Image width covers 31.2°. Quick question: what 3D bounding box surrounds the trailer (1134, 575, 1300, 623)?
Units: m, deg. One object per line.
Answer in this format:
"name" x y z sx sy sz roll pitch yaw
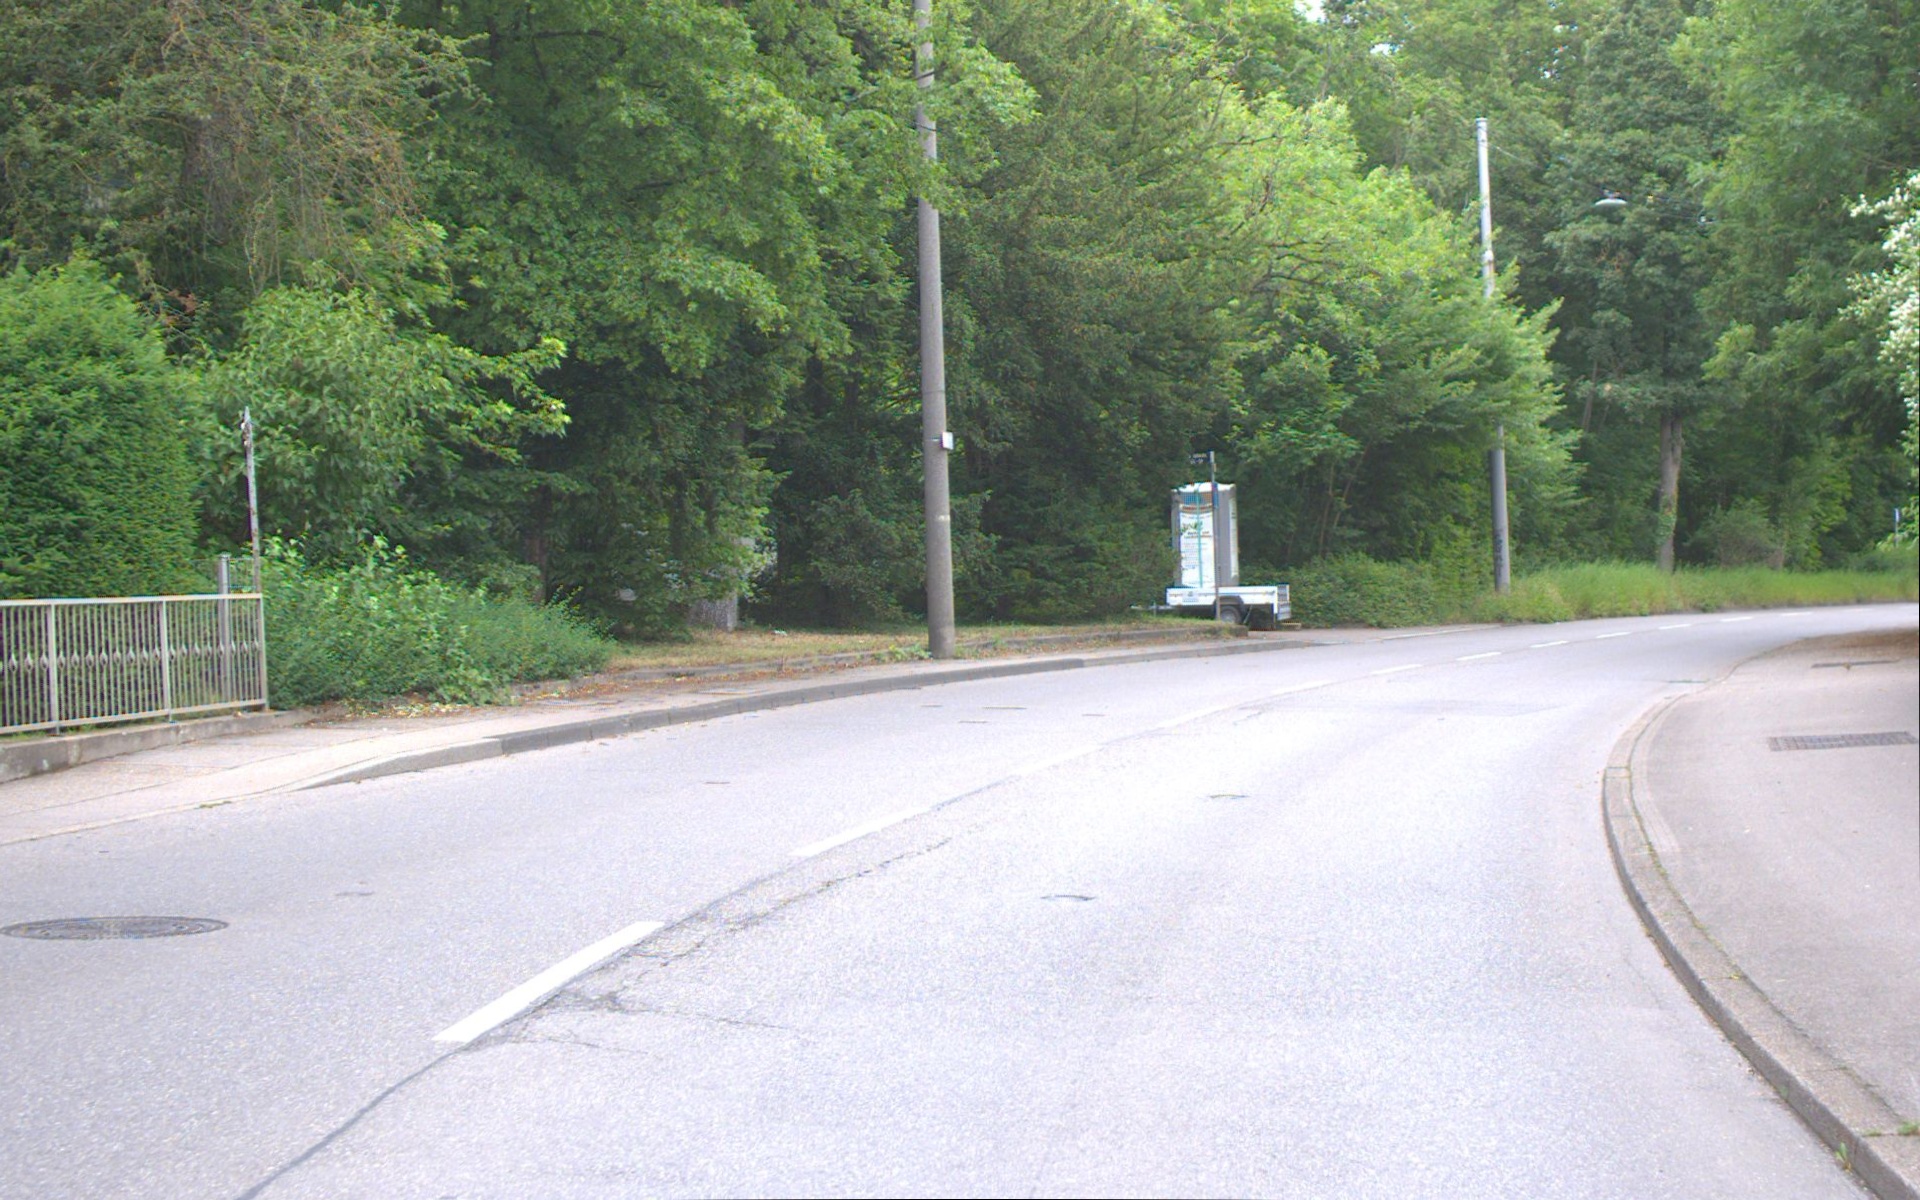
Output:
"trailer" 4.800 -0.013 64.124 2.956 0.826 1.475 -1 0 9
